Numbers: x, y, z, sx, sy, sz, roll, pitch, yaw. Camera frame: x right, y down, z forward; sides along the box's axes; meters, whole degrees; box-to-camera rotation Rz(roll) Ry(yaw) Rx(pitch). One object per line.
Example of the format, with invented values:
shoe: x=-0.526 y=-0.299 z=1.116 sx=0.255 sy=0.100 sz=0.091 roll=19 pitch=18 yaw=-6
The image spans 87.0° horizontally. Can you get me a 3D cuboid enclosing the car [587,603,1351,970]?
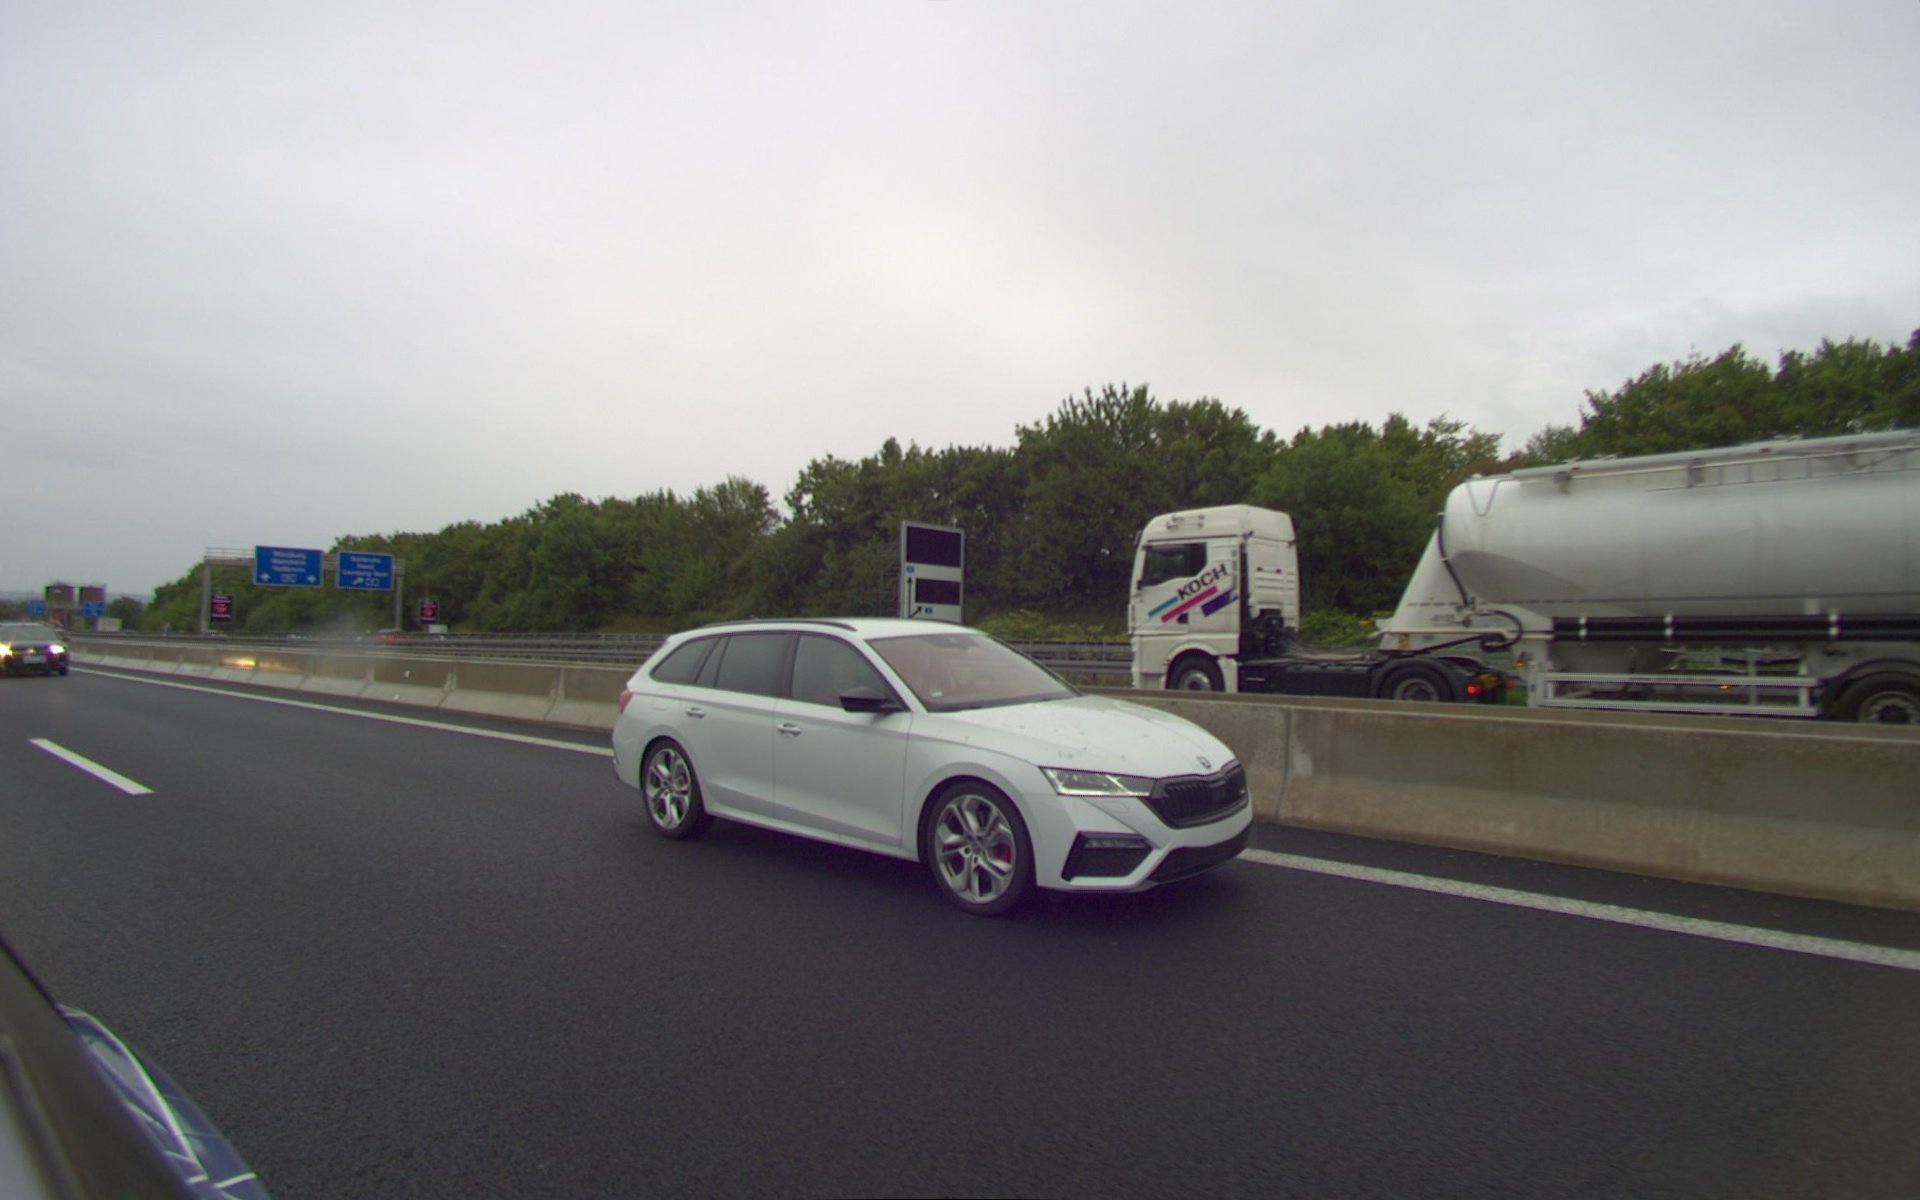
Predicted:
car: x=-0.286 y=0.787 z=6.325 sx=4.776 sy=1.467 sz=1.799 roll=-1 pitch=-1 yaw=41

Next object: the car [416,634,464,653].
car: x=-43.280 y=3.569 z=84.223 sx=4.773 sy=1.467 sz=1.800 roll=-1 pitch=-1 yaw=40

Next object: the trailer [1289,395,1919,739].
trailer: x=10.042 y=-0.326 z=13.214 sx=10.808 sy=3.765 sz=2.608 roll=-1 pitch=-1 yaw=42

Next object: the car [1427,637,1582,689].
car: x=16.940 y=1.913 z=31.600 sx=3.998 sy=1.467 sz=1.658 roll=-1 pitch=-1 yaw=41

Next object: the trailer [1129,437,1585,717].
trailer: x=6.260 y=-0.255 z=16.661 sx=6.490 sy=3.744 sz=2.608 roll=-1 pitch=-1 yaw=42

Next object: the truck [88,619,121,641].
truck: x=-152.524 y=5.343 z=180.325 sx=9.630 sy=3.908 sz=3.042 roll=-1 pitch=-1 yaw=41

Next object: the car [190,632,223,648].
car: x=-76.936 y=4.058 z=103.323 sx=4.265 sy=1.467 sz=1.800 roll=-1 pitch=-1 yaw=40

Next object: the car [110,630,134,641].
car: x=-121.795 y=5.136 z=147.067 sx=4.471 sy=1.504 sz=1.800 roll=-1 pitch=-1 yaw=40

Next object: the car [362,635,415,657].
car: x=-42.281 y=3.379 z=74.843 sx=4.562 sy=1.467 sz=1.801 roll=-1 pitch=-1 yaw=39

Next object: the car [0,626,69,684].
car: x=-26.889 y=1.509 z=28.813 sx=4.565 sy=1.500 sz=1.703 roll=-1 pitch=-1 yaw=41
